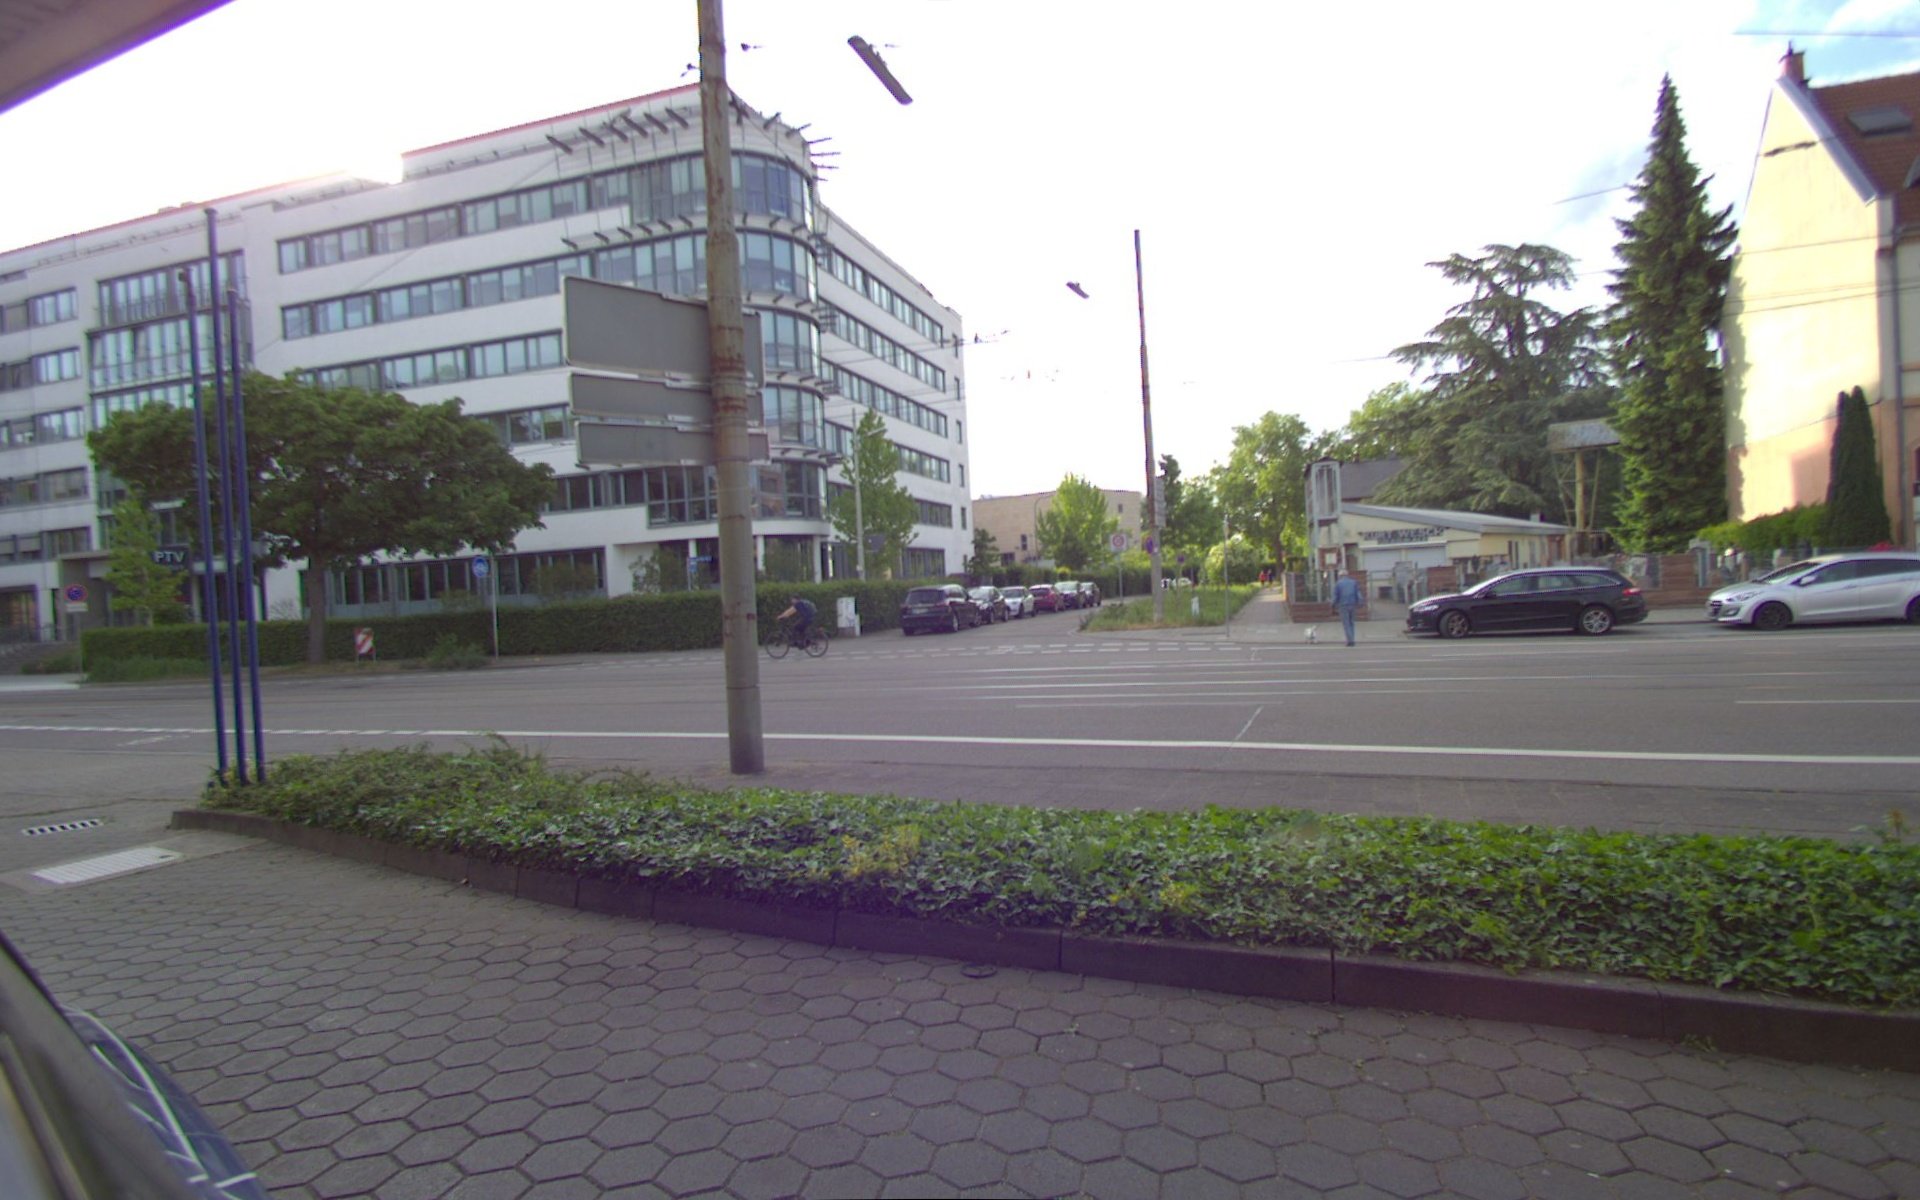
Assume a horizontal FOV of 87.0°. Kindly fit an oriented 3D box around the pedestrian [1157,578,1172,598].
[{"bbox_3d":[19.503,-1.153,96.569,0.971,1.896,1.049,-1,0,35],"label":"pedestrian"}]

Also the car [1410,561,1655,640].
[{"bbox_3d":[13.020,0.011,23.370,4.632,1.533,1.842,-3,2,22],"label":"car"}]

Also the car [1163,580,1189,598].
[{"bbox_3d":[22.846,-1.161,106.856,1.813,1.654,4.040,-4,0,25],"label":"car"}]

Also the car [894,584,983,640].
[{"bbox_3d":[-0.679,0.357,35.569,1.807,1.701,4.370,-4,1,16],"label":"car"}]

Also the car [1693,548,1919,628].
[{"bbox_3d":[18.414,-0.264,21.399,4.349,1.493,1.732,-3,1,22],"label":"car"}]

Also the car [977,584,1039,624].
[{"bbox_3d":[2.232,0.151,45.689,1.807,1.589,4.175,-4,0,16],"label":"car"}]

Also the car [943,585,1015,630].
[{"bbox_3d":[0.839,0.270,40.985,1.807,1.589,4.175,-4,0,16],"label":"car"}]

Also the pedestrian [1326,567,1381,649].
[{"bbox_3d":[8.634,0.162,22.259,0.900,1.712,0.922,-3,1,12],"label":"pedestrian"}]

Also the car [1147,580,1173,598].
[{"bbox_3d":[19.969,-1.141,100.909,1.811,1.654,4.044,-4,0,22],"label":"car"}]

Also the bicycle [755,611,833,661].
[{"bbox_3d":[-4.391,0.957,26.868,1.864,1.248,0.788,-2,-1,13],"label":"bicycle"}]

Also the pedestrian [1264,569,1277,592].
[{"bbox_3d":[26.173,-1.665,85.359,0.965,1.896,1.056,-1,0,17],"label":"pedestrian"}]

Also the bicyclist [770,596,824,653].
[{"bbox_3d":[-4.313,0.637,26.847,1.164,1.462,0.788,-2,-1,13],"label":"bicyclist"}]

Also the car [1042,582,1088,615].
[{"bbox_3d":[6.040,-0.138,57.808,1.807,1.704,4.392,-4,0,16],"label":"car"}]

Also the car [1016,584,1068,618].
[{"bbox_3d":[4.308,0.021,52.410,1.807,1.589,4.175,-4,0,16],"label":"car"}]

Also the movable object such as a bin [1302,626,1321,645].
[{"bbox_3d":[8.269,0.827,23.809,0.363,0.397,0.660,-3,2,15],"label":"movable object such as a bin"}]

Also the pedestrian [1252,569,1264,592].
[{"bbox_3d":[25.200,-1.653,85.650,0.965,1.896,1.056,-1,0,17],"label":"pedestrian"}]

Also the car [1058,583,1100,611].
[{"bbox_3d":[7.395,-0.216,62.573,1.807,1.585,4.052,-4,0,16],"label":"car"}]
